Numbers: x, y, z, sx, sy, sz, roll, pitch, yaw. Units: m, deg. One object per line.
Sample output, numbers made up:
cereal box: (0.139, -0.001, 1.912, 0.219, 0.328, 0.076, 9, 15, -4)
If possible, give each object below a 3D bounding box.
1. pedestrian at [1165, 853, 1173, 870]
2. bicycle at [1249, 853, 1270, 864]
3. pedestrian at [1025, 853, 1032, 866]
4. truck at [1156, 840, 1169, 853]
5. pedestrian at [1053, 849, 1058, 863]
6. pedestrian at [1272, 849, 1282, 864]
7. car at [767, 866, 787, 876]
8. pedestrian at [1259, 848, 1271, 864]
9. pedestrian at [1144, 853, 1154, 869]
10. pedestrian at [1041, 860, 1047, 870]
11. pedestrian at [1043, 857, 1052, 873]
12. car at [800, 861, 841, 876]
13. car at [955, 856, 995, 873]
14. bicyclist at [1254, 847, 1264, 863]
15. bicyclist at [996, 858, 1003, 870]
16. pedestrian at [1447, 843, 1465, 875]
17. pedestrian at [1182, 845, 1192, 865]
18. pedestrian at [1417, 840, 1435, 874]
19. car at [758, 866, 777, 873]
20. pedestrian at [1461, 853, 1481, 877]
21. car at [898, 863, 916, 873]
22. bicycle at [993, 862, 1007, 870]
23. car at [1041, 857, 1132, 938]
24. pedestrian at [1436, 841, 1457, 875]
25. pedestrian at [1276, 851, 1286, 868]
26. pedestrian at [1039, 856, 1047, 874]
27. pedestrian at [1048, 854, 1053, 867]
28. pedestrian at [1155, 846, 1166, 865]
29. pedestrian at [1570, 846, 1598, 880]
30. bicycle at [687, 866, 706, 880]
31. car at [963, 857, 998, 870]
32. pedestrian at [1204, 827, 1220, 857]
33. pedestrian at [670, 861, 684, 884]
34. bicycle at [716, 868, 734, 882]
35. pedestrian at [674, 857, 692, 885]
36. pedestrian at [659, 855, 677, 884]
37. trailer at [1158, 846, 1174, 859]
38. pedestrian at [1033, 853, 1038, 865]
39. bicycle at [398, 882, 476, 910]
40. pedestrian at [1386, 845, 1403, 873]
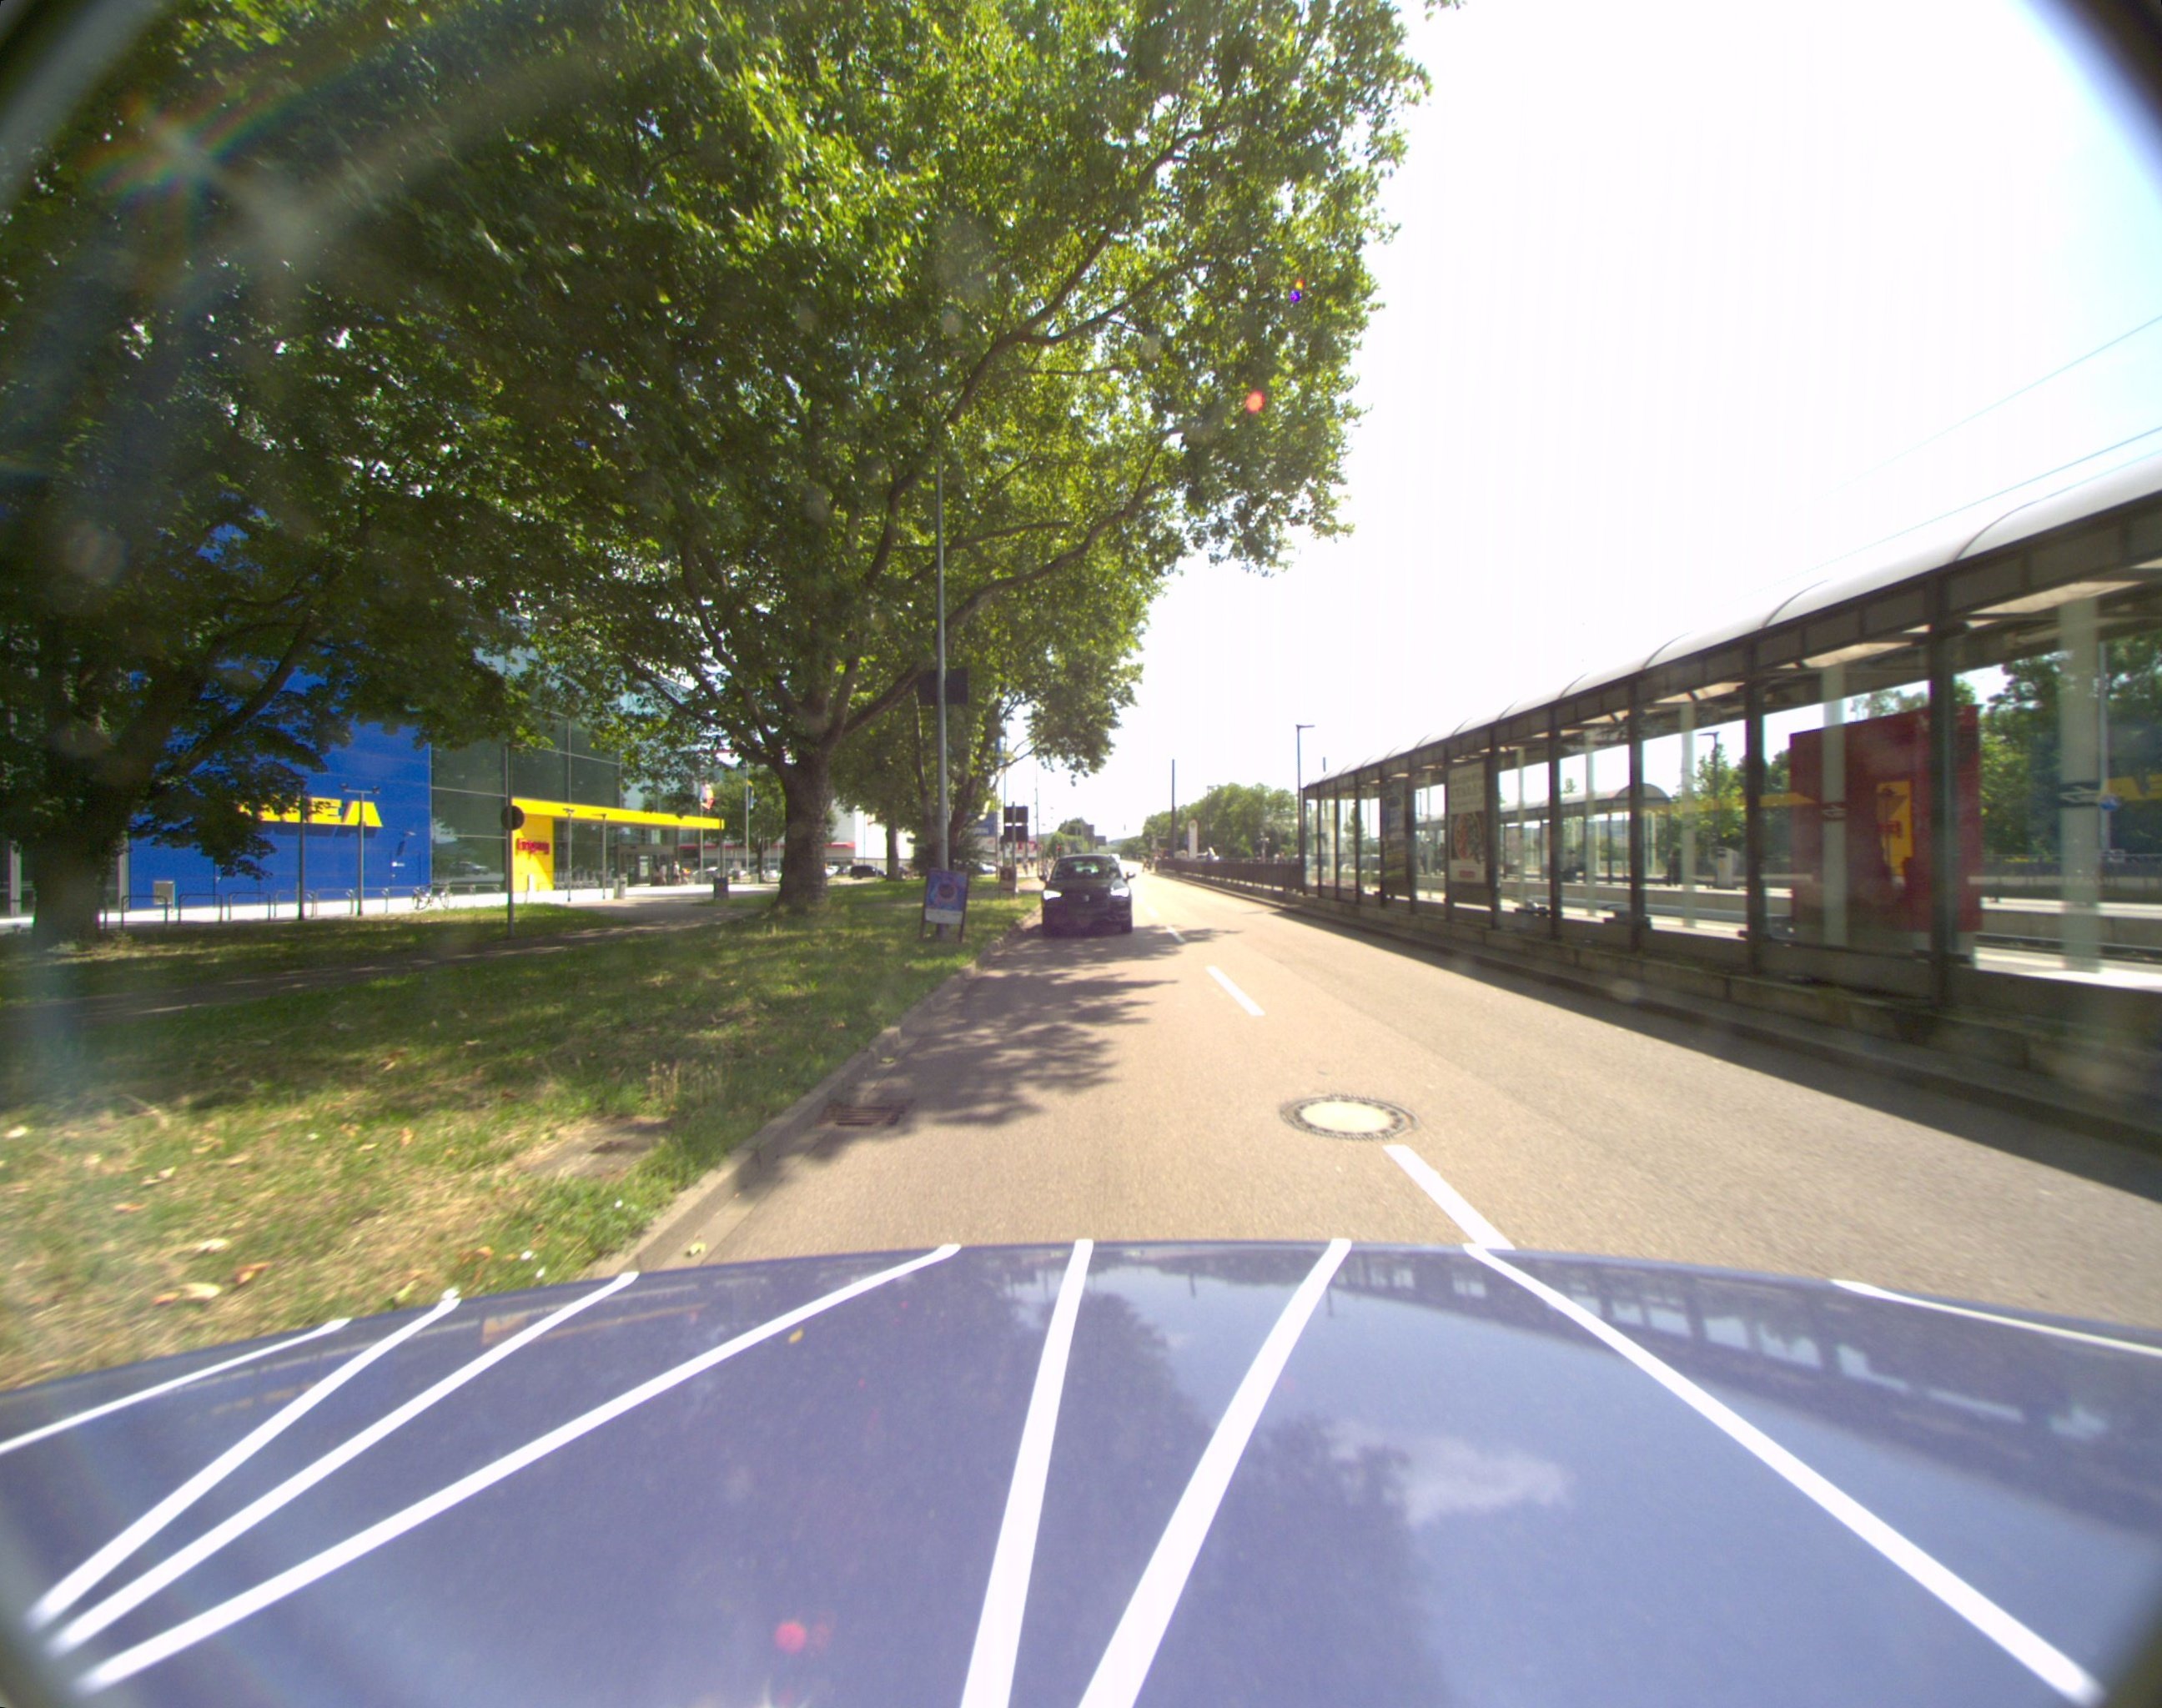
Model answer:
pedestrian: (8.525, 0.750, 73.635, 0.734, 1.663, 0.678, -1, 1, -2)
bicycle: (18.515, 0.446, 78.693, 1.979, 1.094, 0.763, -2, 0, -14)
pedestrian: (-7.578, 0.839, 109.494, 0.805, 1.854, 0.798, -2, 1, 6)
truck: (25.788, -2.296, 239.407, 3.134, 4.015, 7.475, -2, 0, 0)
pedestrian: (-3.075, 0.251, 91.018, 0.528, 1.656, 0.640, -2, 1, 6)
pedestrian: (19.705, 0.242, 76.298, 0.763, 1.539, 0.764, -1, 0, -1)
car: (-51.655, 2.930, 129.000, 1.853, 1.537, 3.999, -2, 0, -2)
pedestrian: (18.701, 0.218, 77.303, 0.959, 1.600, 0.764, -1, 0, -1)
pedestrian: (6.755, 0.675, 75.484, 0.787, 1.563, 0.764, -2, 1, -2)
pedestrian: (-5.078, 1.500, 103.673, 0.591, 1.467, 0.805, -1, 0, -14)
pedestrian: (-3.312, 1.073, 75.206, 0.896, 1.597, 0.767, -2, 1, -2)
car: (-30.209, 1.623, 88.090, 4.079, 1.630, 2.000, -1, 0, -1)
car: (-11.743, 1.115, 84.098, 3.995, 1.548, 1.999, -2, 5, 4)
bicyclist: (18.428, 0.115, 78.696, 0.666, 1.605, 0.732, -2, 1, -14)
bicyclist: (-12.019, 1.504, 111.855, 0.797, 1.691, 0.817, -1, 0, 16)
pedestrian: (18.262, 0.259, 36.987, 0.578, 1.524, 0.639, -1, 0, 2)
pedestrian: (9.057, 0.088, 64.937, 0.615, 1.671, 0.720, -2, 1, 0)
pedestrian: (17.809, 0.155, 39.215, 0.736, 1.719, 0.579, -1, 0, 39)
car: (-59.840, 2.974, 145.187, 1.693, 1.302, 4.001, -2, 0, 3)
pedestrian: (18.018, 0.497, 35.115, 0.578, 1.088, 0.639, -1, 0, 2)
car: (-32.948, 2.575, 144.117, 1.998, 1.707, 4.504, -2, 1, 4)
bicycle: (-11.945, 1.748, 111.862, 1.875, 1.155, 0.832, -1, 0, 17)
car: (0.112, 0.884, 17.306, 1.820, 1.583, 4.000, -1, 0, 0)
pedestrian: (18.162, 0.199, 37.761, 0.826, 1.629, 0.579, -1, 0, 39)
pedestrian: (19.756, 0.554, 74.939, 0.763, 1.662, 0.764, -1, 0, -1)
pedestrian: (-3.729, 1.056, 74.407, 0.725, 1.673, 0.625, -2, 1, -2)
pedestrian: (-3.654, 0.796, 90.932, 0.528, 1.570, 0.612, -2, 1, 6)
pedestrian: (7.460, 0.154, 71.043, 0.865, 1.791, 0.883, -2, 1, -2)
pedestrian: (18.053, 0.325, 27.276, 0.578, 1.183, 0.639, -1, 0, 2)
bicycle: (-33.229, 1.643, 65.711, 0.803, 1.192, 2.430, -1, 0, -12)
car: (-11.648, 1.141, 87.943, 3.834, 1.389, 1.803, -1, 0, -1)
pedestrian: (7.483, -0.678, 43.333, 0.734, 1.656, 0.742, -1, 0, 1)
pedestrian: (-29.648, 1.334, 55.768, 0.607, 1.662, 0.587, -2, 1, 12)
bicycle: (-30.726, 1.783, 65.638, 0.803, 1.138, 2.431, -1, 0, -12)
pedestrian: (-28.930, 1.201, 55.249, 0.798, 2.002, 0.733, -1, 0, 10)
pedestrian: (-29.648, 1.104, 54.560, 0.798, 2.002, 0.733, -1, 0, 14)
trailer: (25.735, -0.471, 230.975, 3.123, 3.848, 15.481, -1, 0, 0)
pedestrian: (-6.574, 0.775, 109.702, 0.806, 1.749, 0.797, -1, 1, -3)
bicycle: (-23.594, 1.533, 27.857, 2.065, 0.963, 0.868, -1, 0, -2)
pedestrian: (18.353, 0.312, 44.503, 0.558, 1.628, 0.806, -1, 0, -6)
